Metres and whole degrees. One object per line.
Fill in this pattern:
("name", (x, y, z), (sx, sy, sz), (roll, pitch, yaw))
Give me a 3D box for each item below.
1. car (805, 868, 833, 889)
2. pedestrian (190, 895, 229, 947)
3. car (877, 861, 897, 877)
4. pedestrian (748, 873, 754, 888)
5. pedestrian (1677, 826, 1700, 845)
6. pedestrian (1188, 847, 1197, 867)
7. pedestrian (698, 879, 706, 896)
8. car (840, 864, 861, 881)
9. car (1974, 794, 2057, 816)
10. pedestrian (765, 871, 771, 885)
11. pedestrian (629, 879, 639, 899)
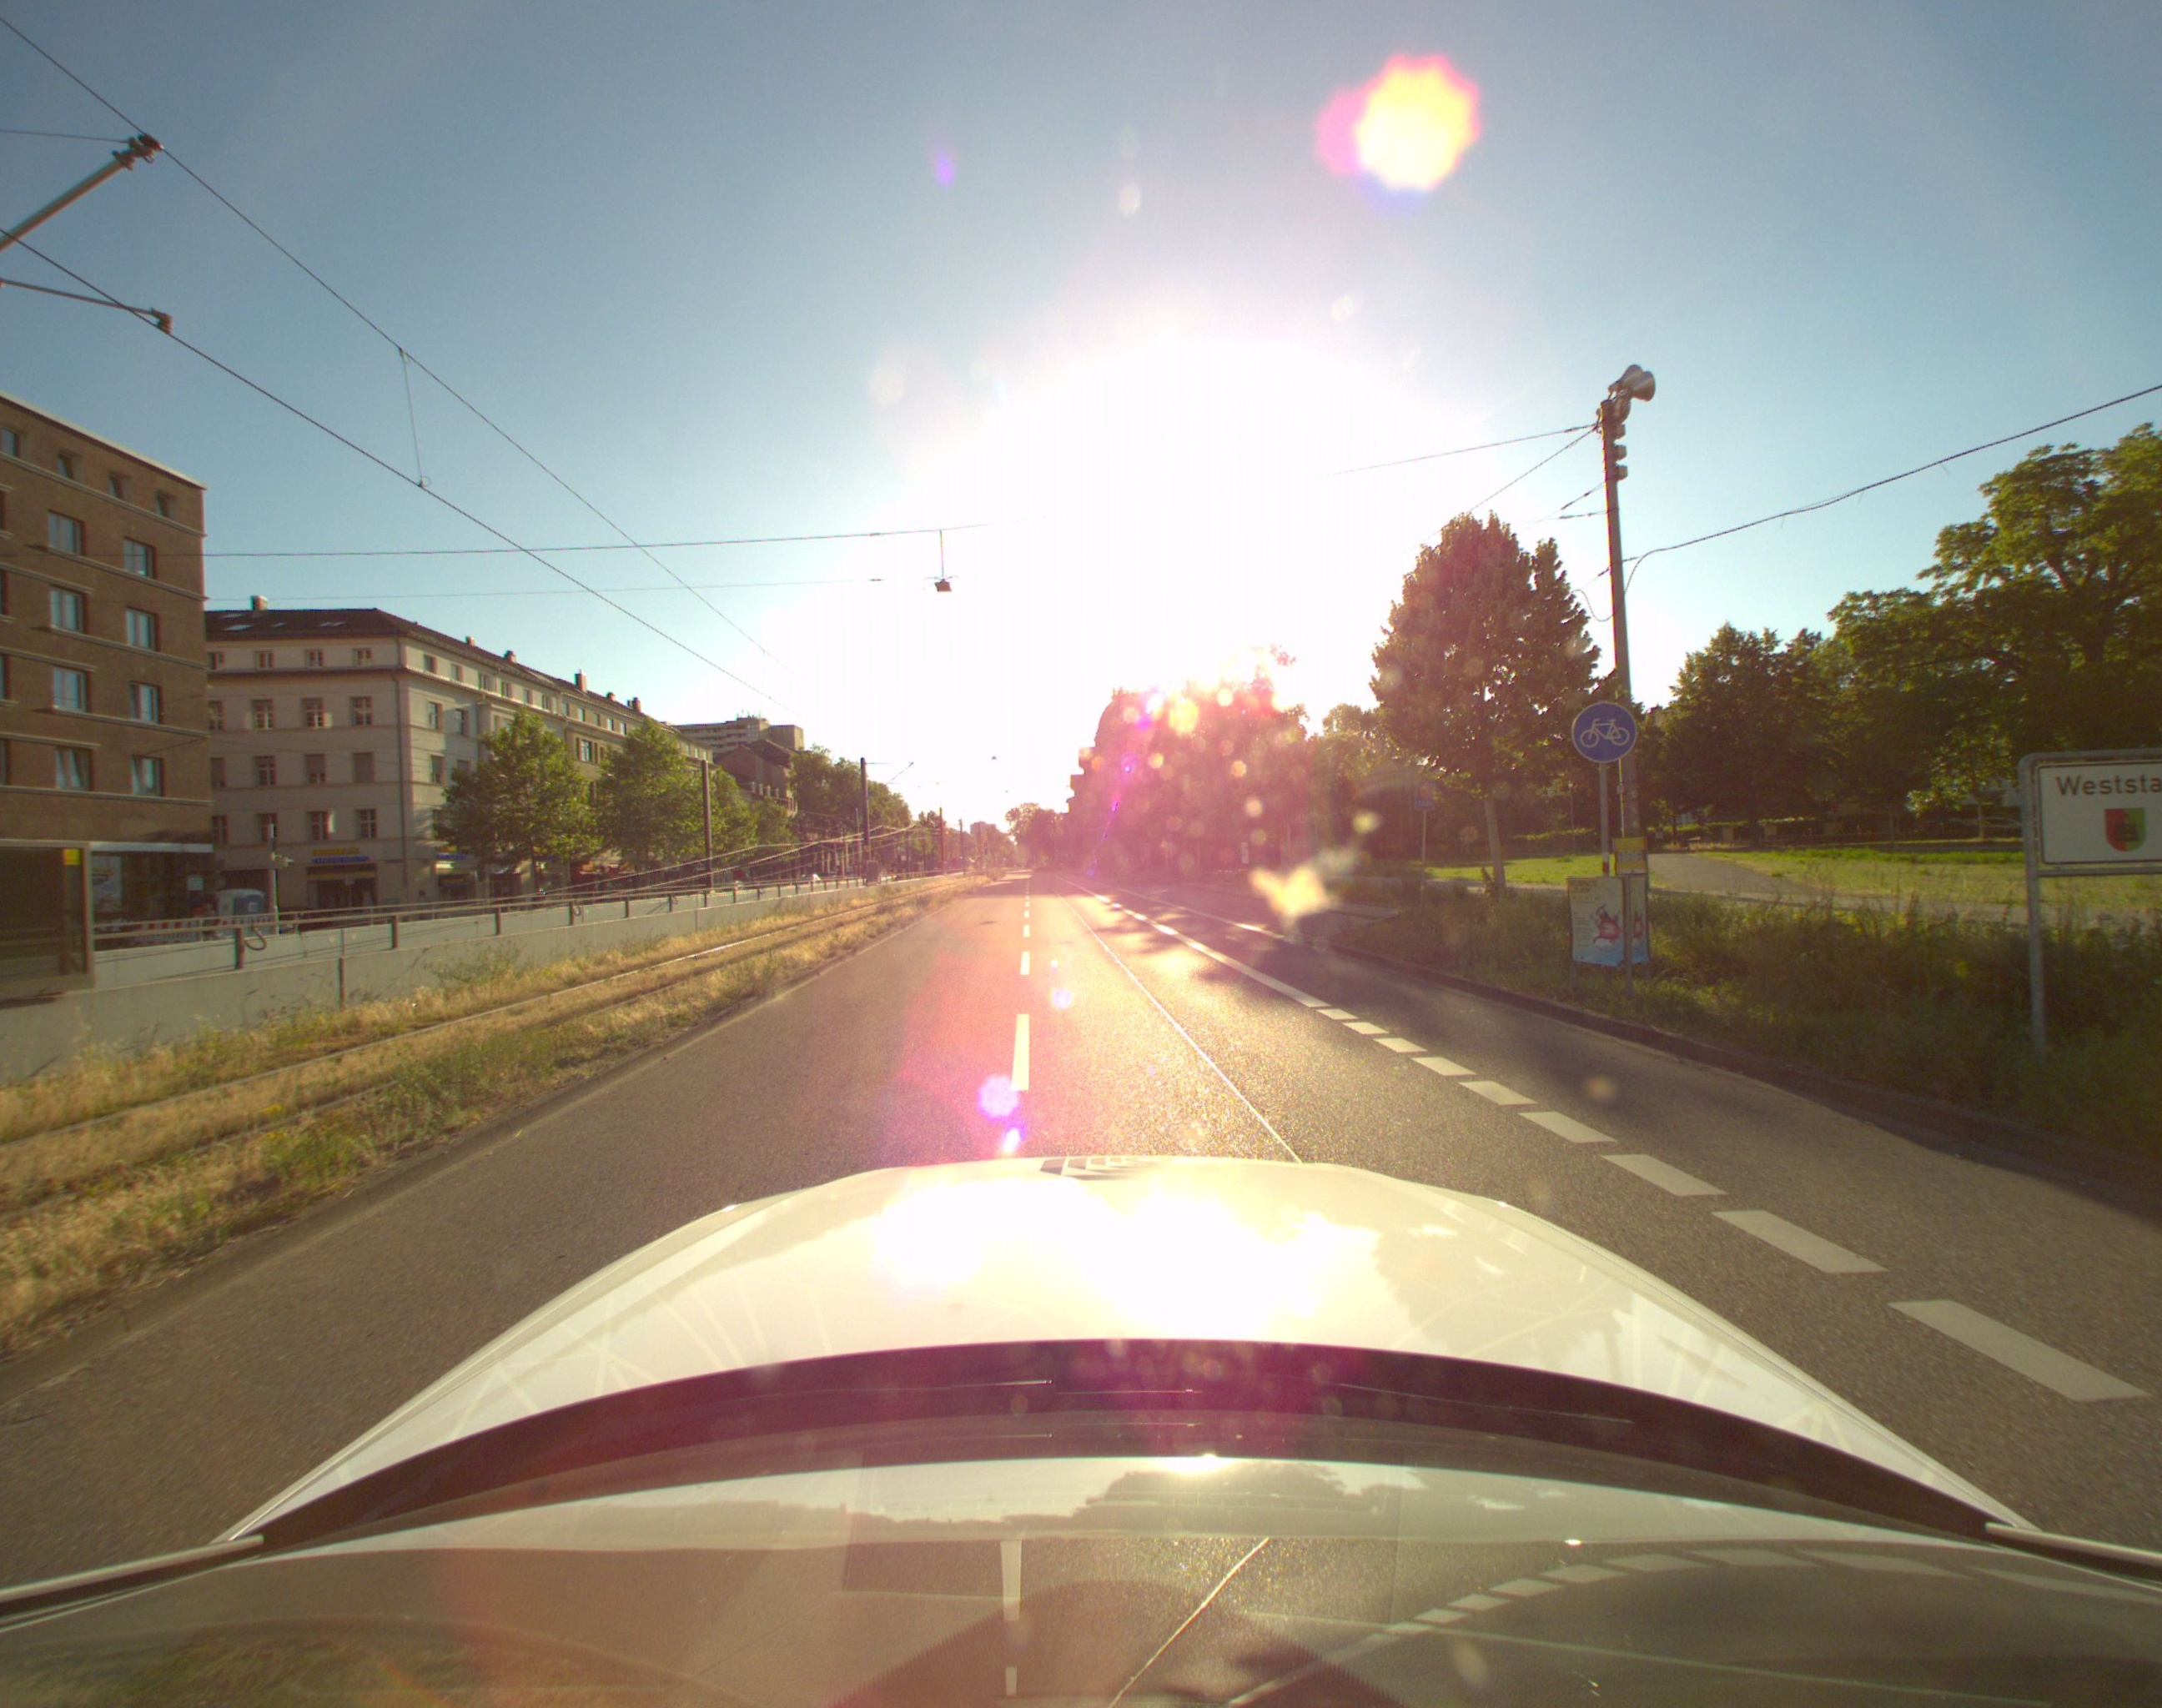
("car", (-26.532, 2.474, 82.511), (1.993, 2.013, 3.988), (-3, -1, -8))
("pedestrian", (-35.151, 2.707, 32.870), (0.716, 2.013, 0.727), (-3, -1, -6))
("car", (-26.689, 2.013, 112.329), (1.990, 2.013, 3.993), (-3, -1, -5))
("pedestrian", (-38.916, 3.157, 96.017), (0.489, 1.708, 0.549), (-3, -1, -3))
("pedestrian", (39.171, -1.195, 52.502), (0.809, 1.187, 0.844), (-3, -1, -4))
("pedestrian", (10.272, 0.273, 75.109), (0.681, 1.823, 0.535), (-3, -1, 1))
("pedestrian", (-38.967, 3.488, 83.821), (0.489, 1.708, 0.549), (-3, -1, -3))
("car", (-33.345, 2.675, 117.808), (1.990, 2.244, 3.994), (-3, 0, -4))
("car", (83.869, -4.366, 73.163), (1.996, 1.571, 4.444), (-3, 0, -13))
("pedestrian", (-40.571, 3.094, 105.599), (0.489, 1.708, 0.549), (-3, -1, -3))
("pedestrian", (-38.719, 3.000, 70.592), (0.489, 1.708, 0.549), (-3, -1, -3))
